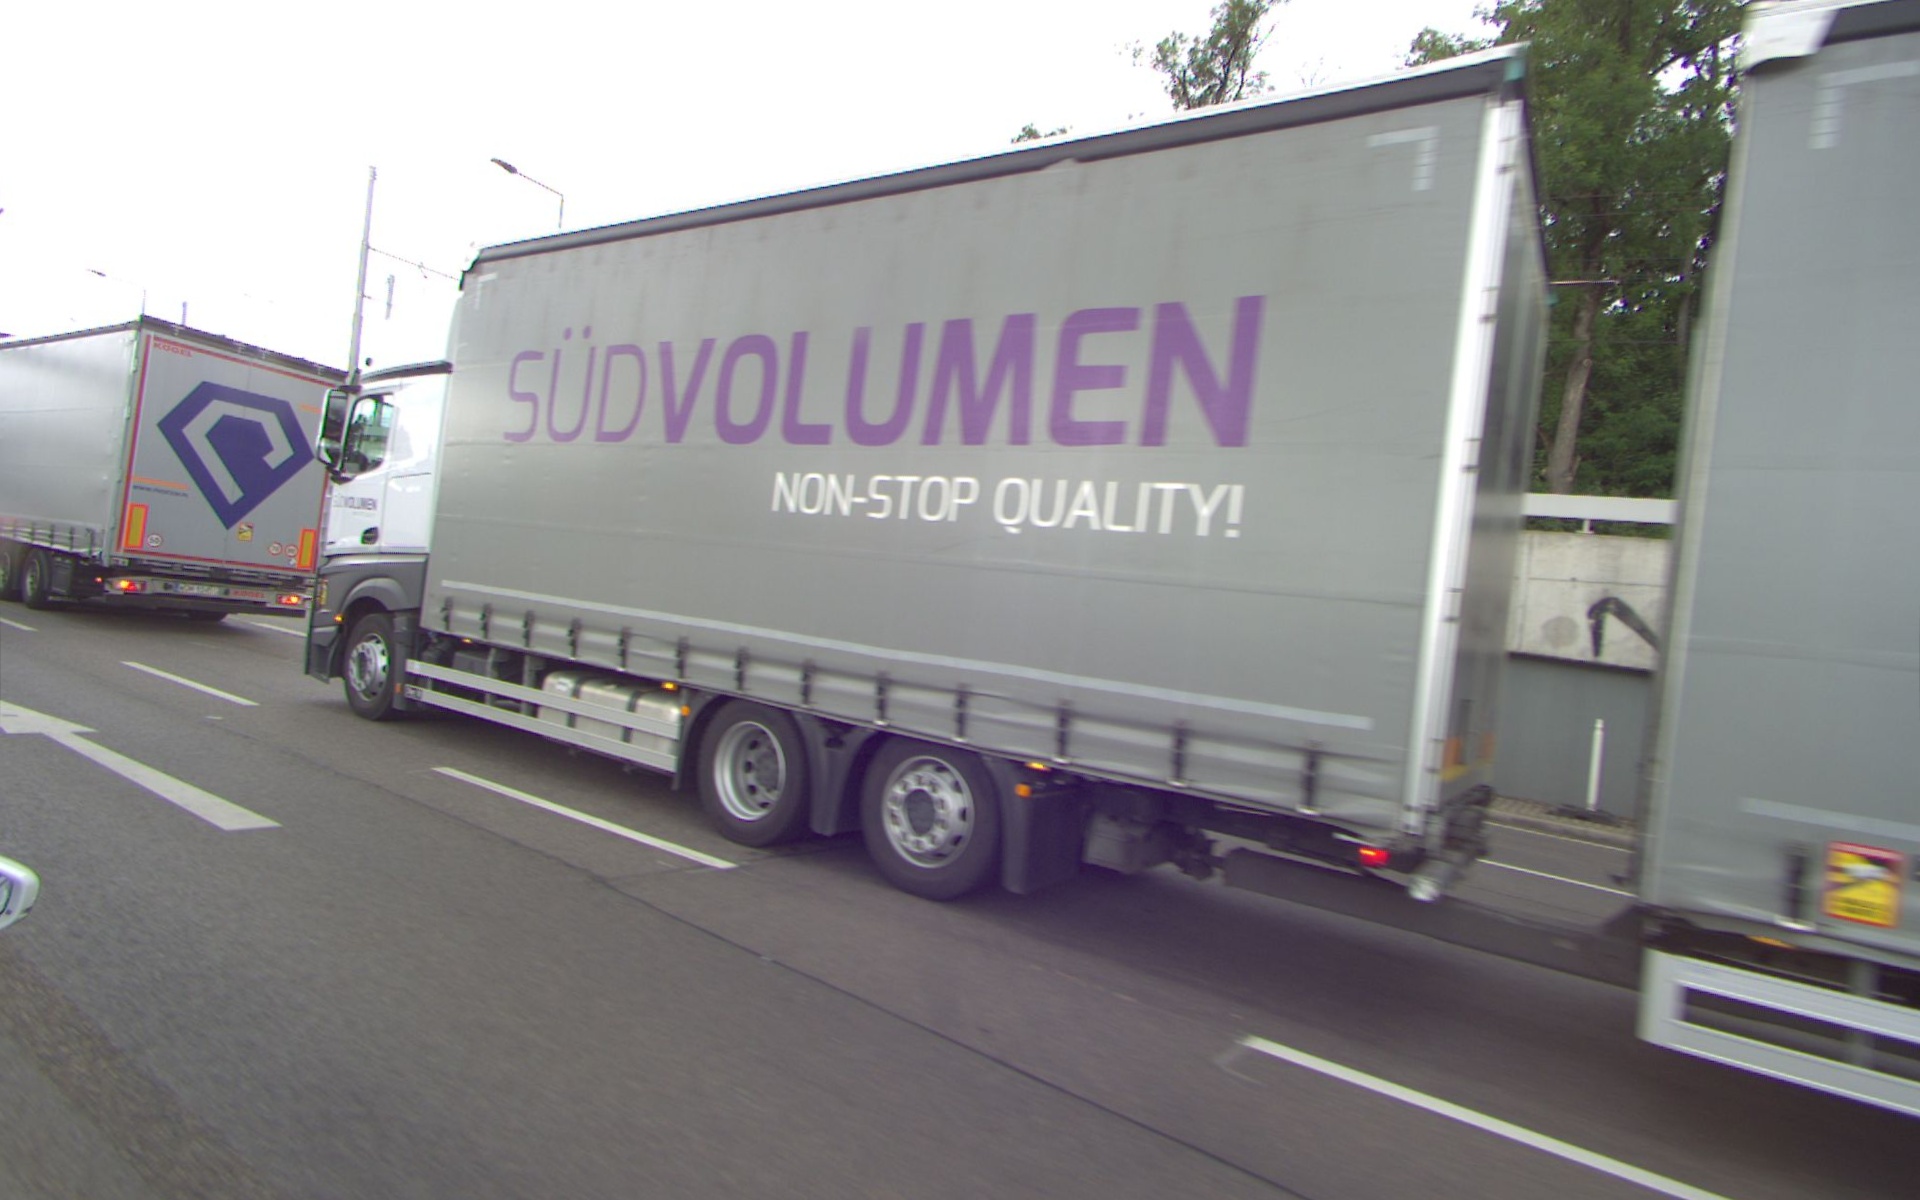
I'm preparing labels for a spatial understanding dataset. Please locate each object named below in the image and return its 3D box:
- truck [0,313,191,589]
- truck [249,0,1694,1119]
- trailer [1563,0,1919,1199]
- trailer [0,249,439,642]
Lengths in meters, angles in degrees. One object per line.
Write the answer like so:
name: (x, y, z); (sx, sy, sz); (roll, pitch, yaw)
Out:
truck: (-20.227, -3.119, 21.088); (7.320, 4.684, 3.812); (7, -2, 32)
truck: (-1.067, -0.556, 8.156); (10.807, 4.189, 3.730); (7, -2, 34)
trailer: (7.848, 0.470, 2.096); (10.807, 4.189, 3.730); (7, -2, 34)
trailer: (-14.476, -2.445, 17.380); (11.915, 4.684, 3.812); (7, -2, 33)
